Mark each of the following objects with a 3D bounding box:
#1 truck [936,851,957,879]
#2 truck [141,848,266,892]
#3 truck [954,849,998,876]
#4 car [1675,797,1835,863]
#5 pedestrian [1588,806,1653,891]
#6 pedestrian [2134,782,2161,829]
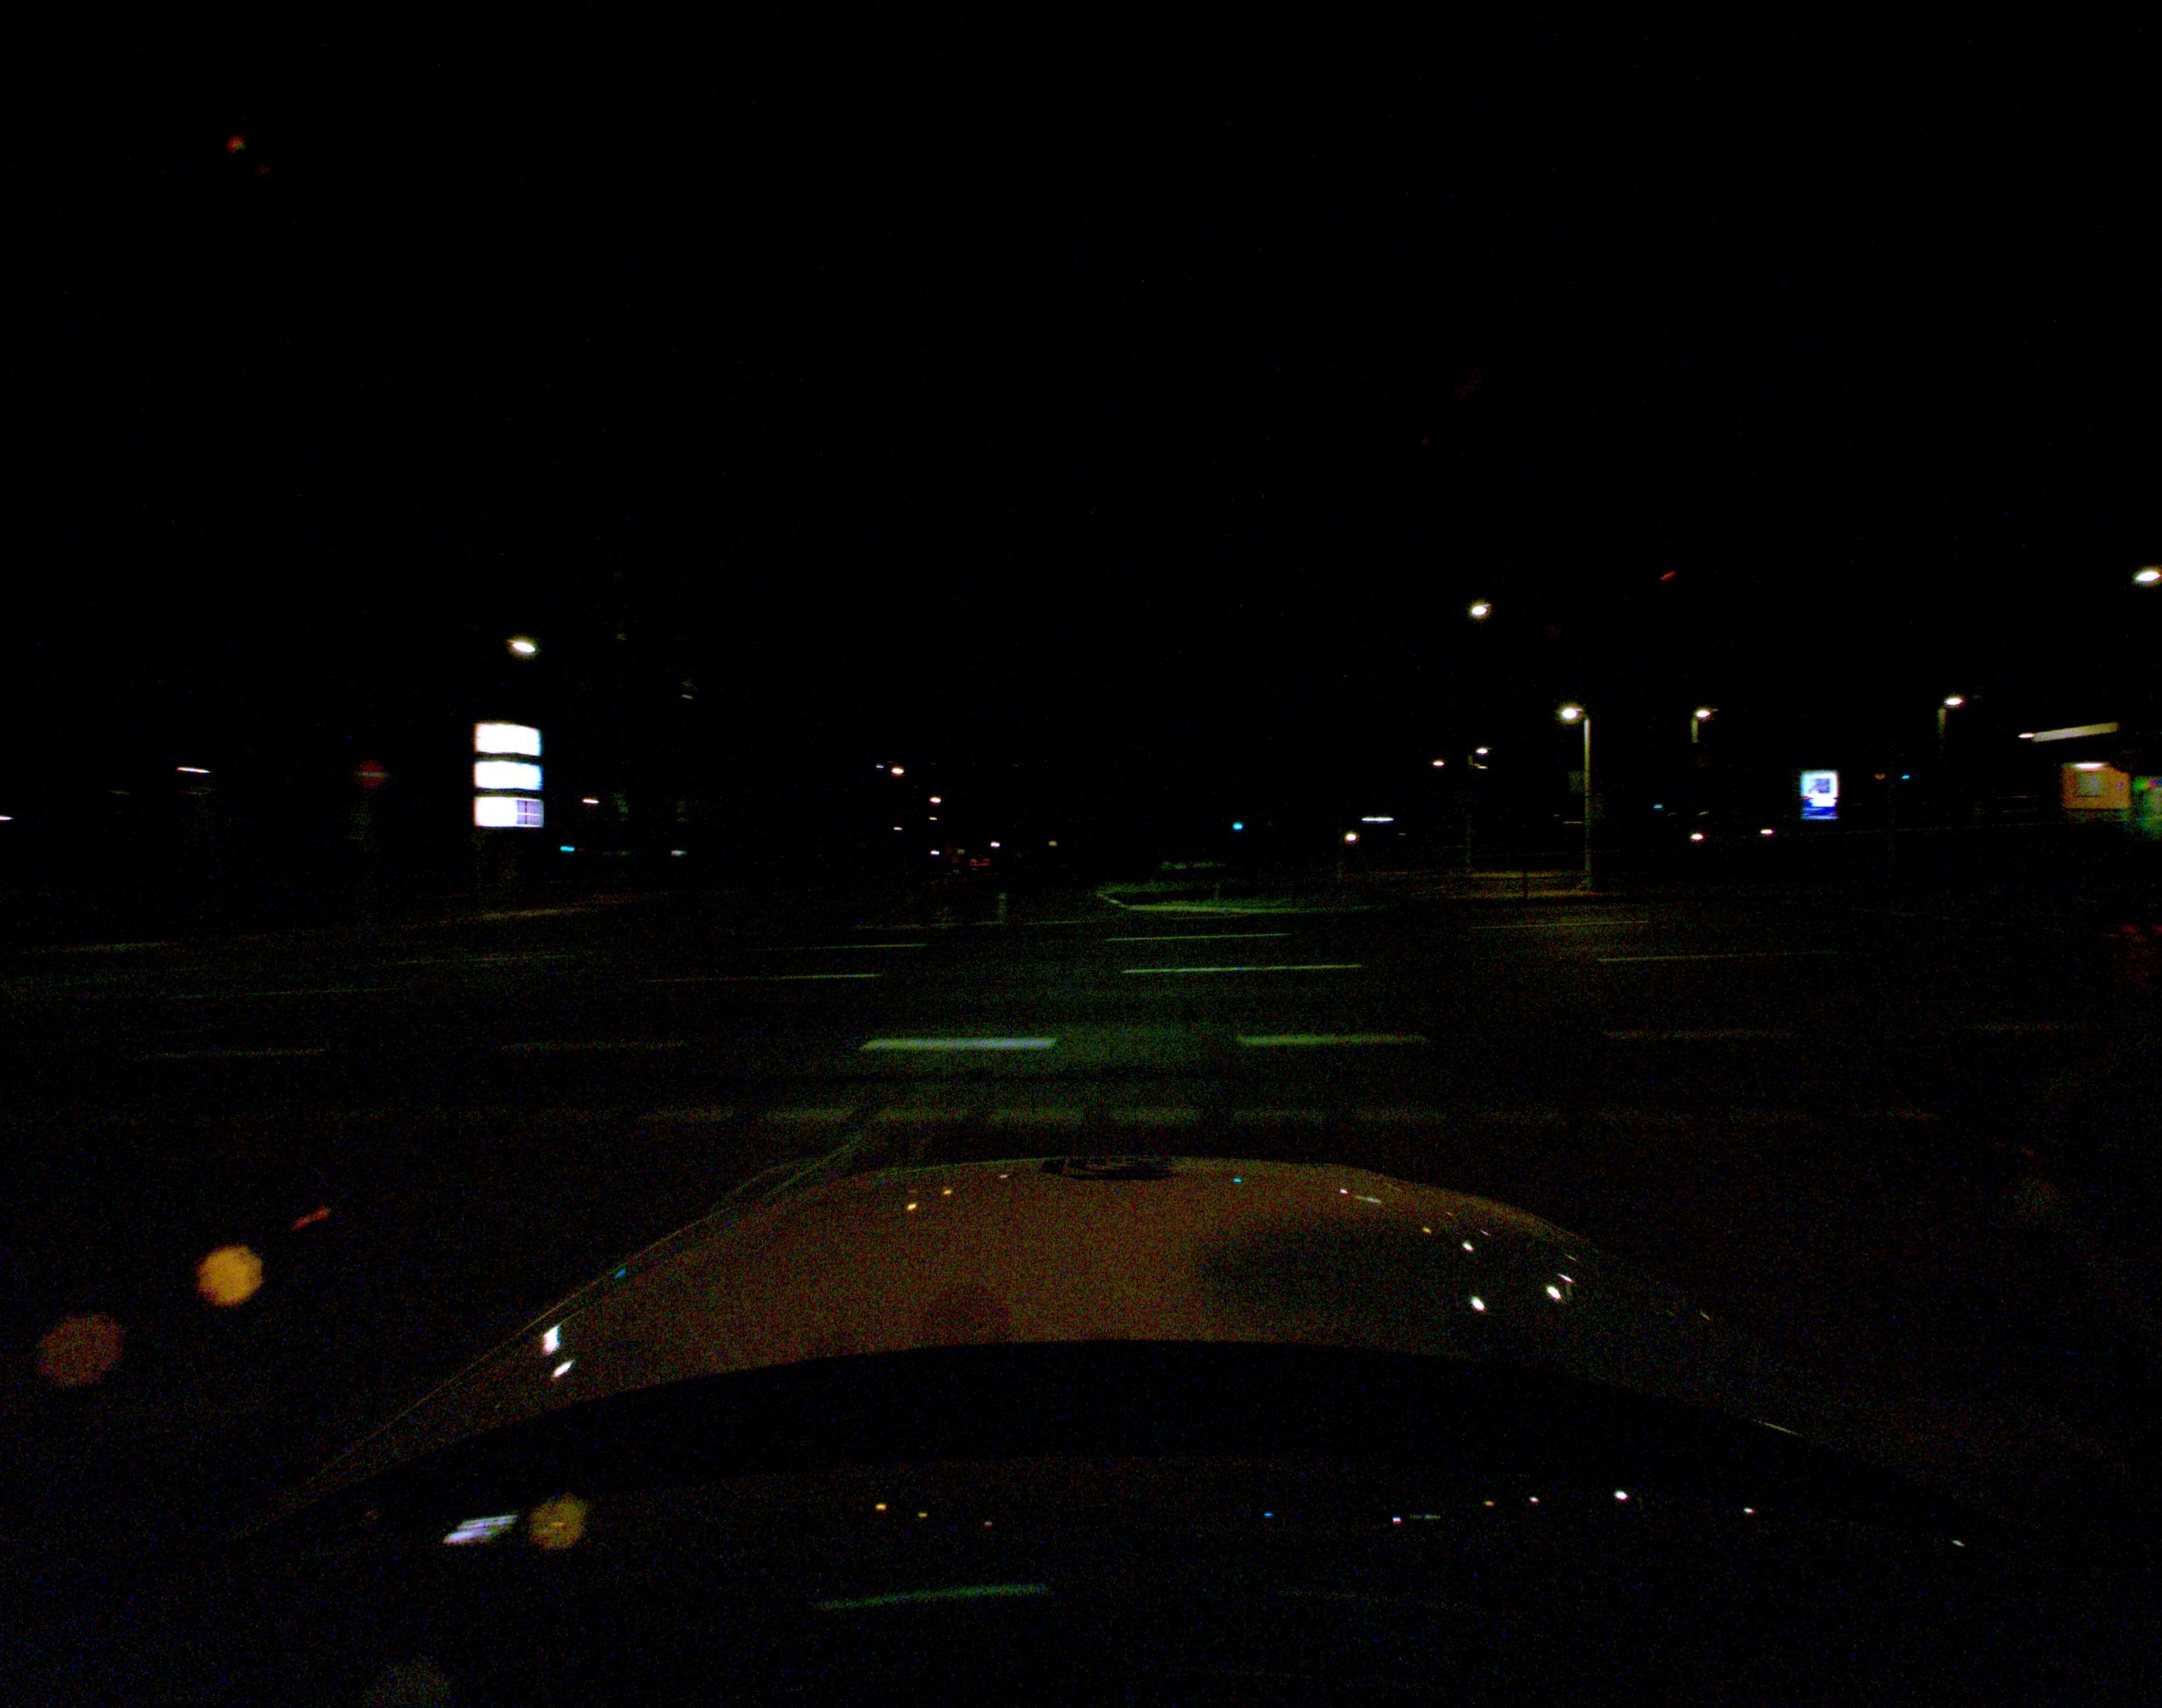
[{"bbox_3d":[-18.424,1.517,111.451,2.584,3.707,5.716,-1,0,-11],"label":"truck"},{"bbox_3d":[-64.508,1.168,59.986,5.880,3.087,2.912,-1,0,-1],"label":"truck"},{"bbox_3d":[-18.573,1.513,143.610,4.841,4.547,12.576,-1,0,-21],"label":"truck"},{"bbox_3d":[24.296,-0.832,29.491,3.971,2.013,2.001,-4,-1,2],"label":"car"},{"bbox_3d":[11.679,-0.132,17.643,0.753,1.744,0.833,-4,1,-3],"label":"pedestrian"},{"bbox_3d":[35.770,-1.612,26.769,1.131,1.500,1.084,-3,-1,37],"label":"pedestrian"}]
